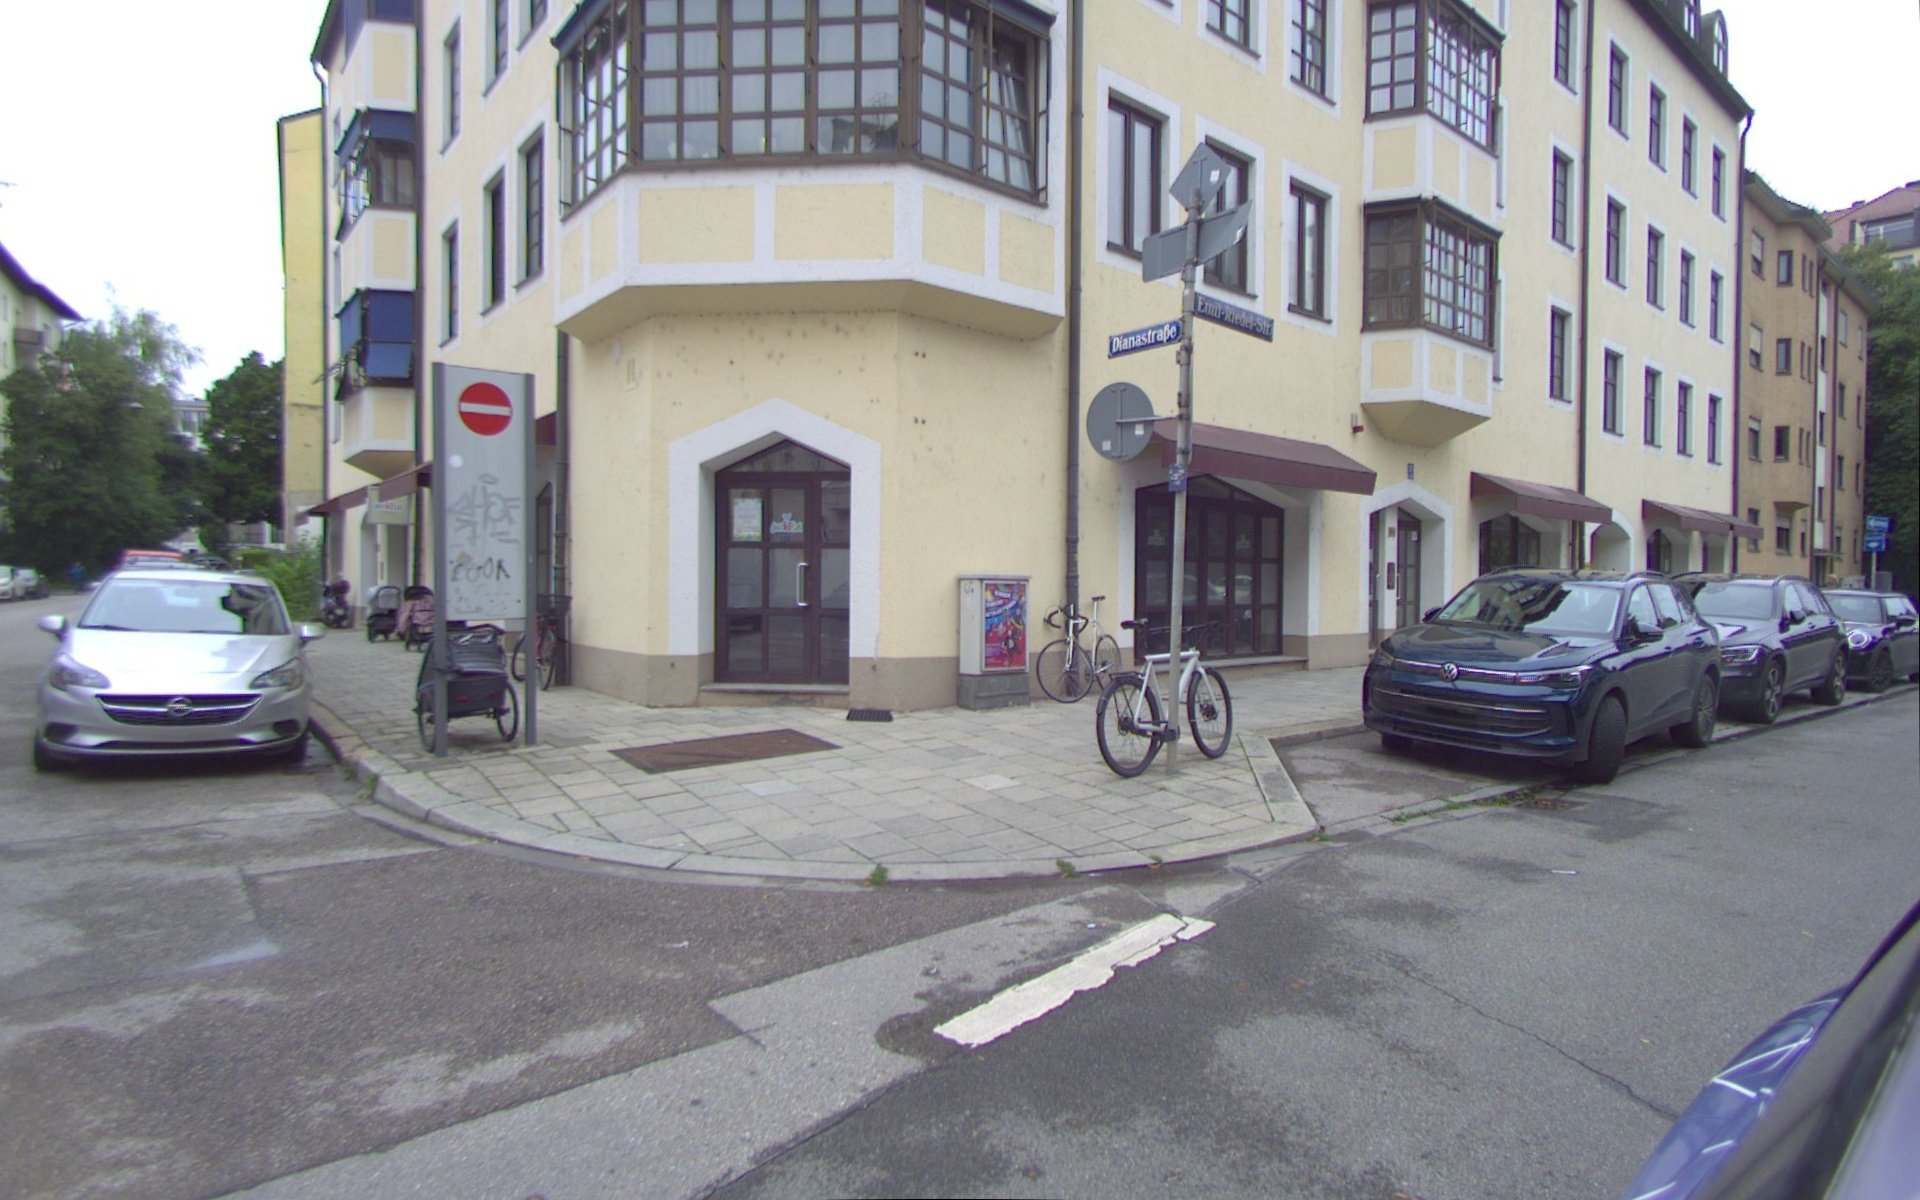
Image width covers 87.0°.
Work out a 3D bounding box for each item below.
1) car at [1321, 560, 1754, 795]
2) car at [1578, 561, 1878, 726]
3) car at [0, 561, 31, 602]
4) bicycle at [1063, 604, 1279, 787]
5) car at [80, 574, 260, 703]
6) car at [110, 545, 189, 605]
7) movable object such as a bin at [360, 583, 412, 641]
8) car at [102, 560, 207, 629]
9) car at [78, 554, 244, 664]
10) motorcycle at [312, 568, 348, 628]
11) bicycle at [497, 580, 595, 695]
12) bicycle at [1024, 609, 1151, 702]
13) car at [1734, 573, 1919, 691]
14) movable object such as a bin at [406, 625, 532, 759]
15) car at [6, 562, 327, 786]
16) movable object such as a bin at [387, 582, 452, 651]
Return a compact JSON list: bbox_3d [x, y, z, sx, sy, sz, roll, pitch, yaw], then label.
[{"bbox_3d":[5.454,0.491,9.319,4.418,1.642,2.110,-1,2,-41],"label":"car"},{"bbox_3d":[9.532,0.390,12.467,4.087,1.607,1.820,-1,6,-37],"label":"car"},{"bbox_3d":[-39.289,-0.750,40.858,1.940,1.588,4.433,-1,1,-34],"label":"car"},{"bbox_3d":[1.645,0.648,7.661,2.017,1.173,0.430,-2,3,-40],"label":"bicycle"},{"bbox_3d":[-10.025,0.374,12.970,1.609,1.353,3.455,-1,3,-37],"label":"car"},{"bbox_3d":[-29.298,-0.900,36.695,2.027,2.003,4.430,-1,1,-36],"label":"car"},{"bbox_3d":[-10.862,0.209,19.154,0.672,1.026,1.125,-1,2,-39],"label":"movable object such as a bin"},{"bbox_3d":[-20.594,-0.181,25.850,1.943,1.588,4.426,-1,1,-40],"label":"car"},{"bbox_3d":[-13.222,0.069,16.834,1.949,1.604,4.026,-1,2,-38],"label":"car"},{"bbox_3d":[-14.933,-0.073,23.959,0.546,1.356,1.886,-1,2,-37],"label":"motorcycle"},{"bbox_3d":[-4.805,0.387,11.669,0.506,1.201,1.904,0,2,-39],"label":"bicycle"},{"bbox_3d":[1.426,0.583,11.156,1.665,0.912,0.262,-1,6,-39],"label":"bicycle"},{"bbox_3d":[13.595,0.386,15.434,3.858,1.541,1.766,-1,3,-36],"label":"car"},{"bbox_3d":[-3.953,0.694,8.121,0.672,0.911,1.125,-1,2,-39],"label":"movable object such as a bin"},{"bbox_3d":[-6.596,0.461,8.619,1.718,1.458,3.746,3,0,-36],"label":"car"},{"bbox_3d":[-9.098,0.257,17.026,0.754,1.094,1.125,-1,2,-40],"label":"movable object such as a bin"}]
